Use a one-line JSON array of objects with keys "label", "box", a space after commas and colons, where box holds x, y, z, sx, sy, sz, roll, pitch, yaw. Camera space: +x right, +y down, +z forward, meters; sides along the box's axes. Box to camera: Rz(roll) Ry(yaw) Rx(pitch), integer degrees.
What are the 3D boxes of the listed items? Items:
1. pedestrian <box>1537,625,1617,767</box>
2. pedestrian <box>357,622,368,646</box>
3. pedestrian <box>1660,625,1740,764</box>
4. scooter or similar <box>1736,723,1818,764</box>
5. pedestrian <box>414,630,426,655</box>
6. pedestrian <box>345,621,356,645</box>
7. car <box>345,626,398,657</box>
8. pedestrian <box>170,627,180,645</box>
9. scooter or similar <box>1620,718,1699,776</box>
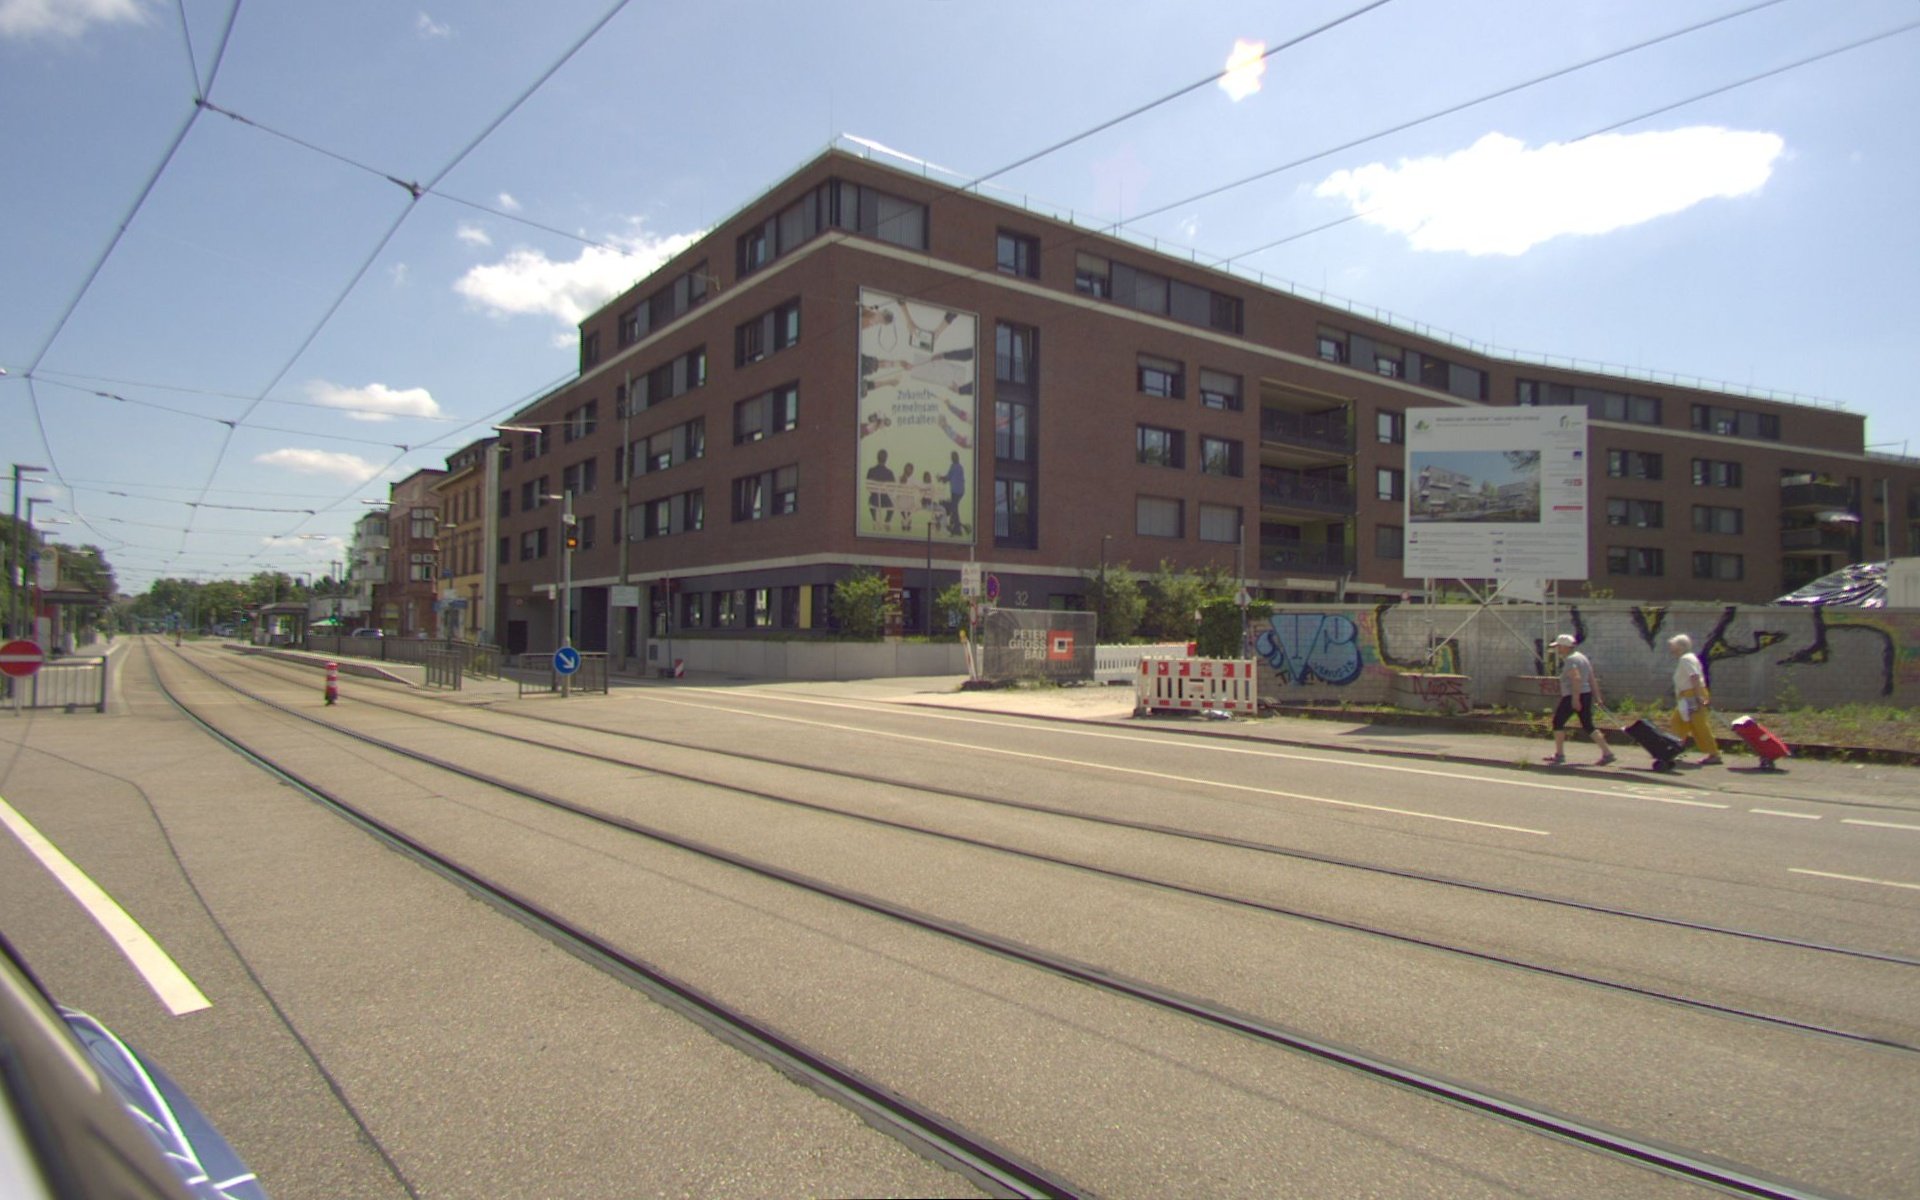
[{"label": "pedestrian", "box": [7.614, 1.157, 12.492, 0.573, 1.684, 0.668, 2, -3, -39]}, {"label": "pedestrian", "box": [-51.471, 2.905, 87.158, 0.610, 2.029, 0.811, 2, -3, -41]}, {"label": "pedestrian", "box": [9.239, 1.148, 12.645, 0.546, 1.671, 0.673, 2, -3, -40]}, {"label": "scooter or similar", "box": [9.700, 1.694, 12.026, 0.467, 0.397, 0.673, 2, -3, -40]}, {"label": "pedestrian", "box": [-31.125, 2.439, 58.317, 0.430, 1.395, 0.537, 5, -4, -39]}, {"label": "pedestrian", "box": [-52.158, 2.843, 86.560, 0.668, 2.029, 0.686, 1, -2, -41]}, {"label": "car", "box": [-34.005, 2.380, 58.441, 1.814, 1.640, 3.777, 5, -4, -41]}, {"label": "pedestrian", "box": [-70.742, 3.250, 91.211, 0.569, 1.568, 0.787, 5, -4, -36]}, {"label": "scooter or similar", "box": [8.165, 1.704, 11.820, 0.470, 0.585, 0.632, 2, -2, -36]}]
